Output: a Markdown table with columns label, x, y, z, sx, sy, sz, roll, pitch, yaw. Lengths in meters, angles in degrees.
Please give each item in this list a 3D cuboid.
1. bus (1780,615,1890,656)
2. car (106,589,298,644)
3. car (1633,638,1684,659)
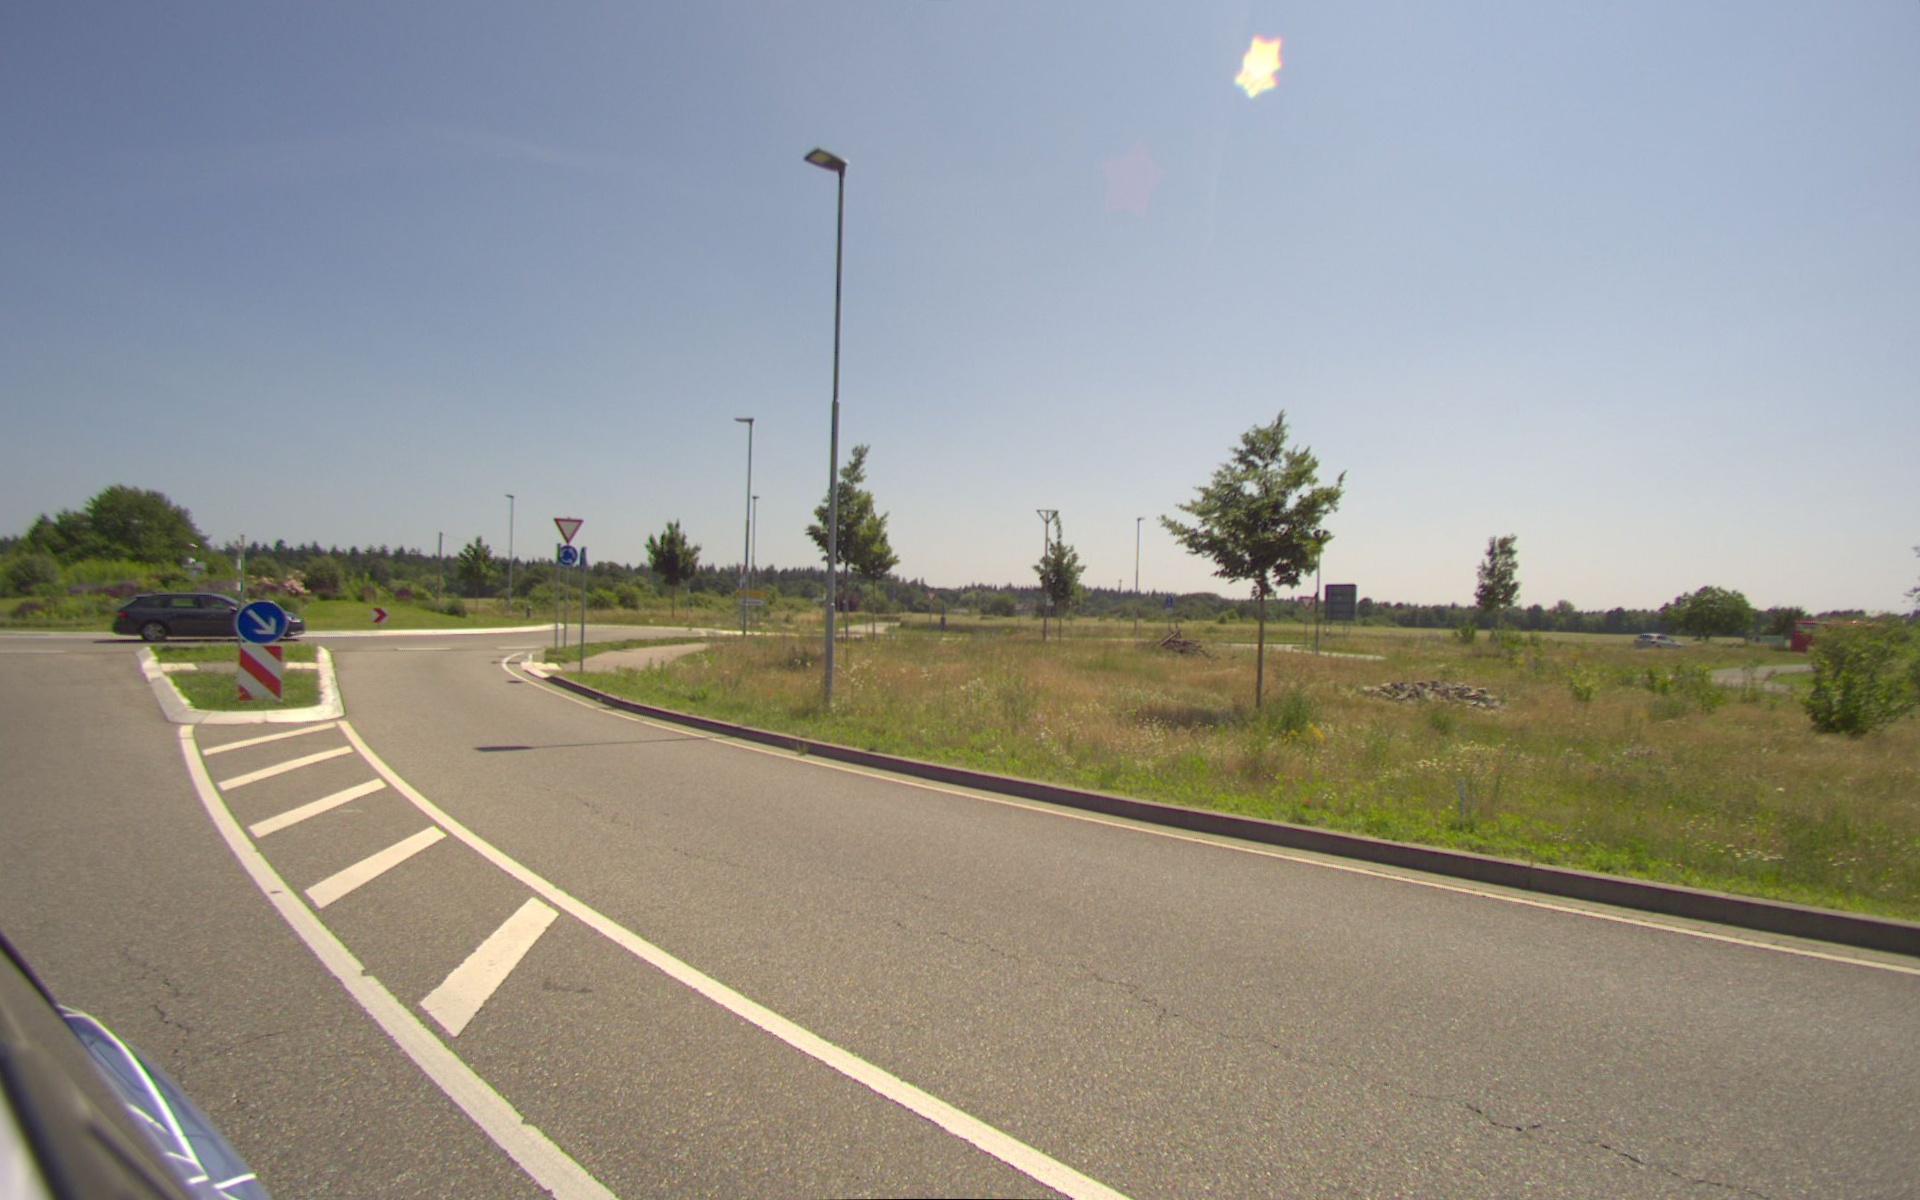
| label | x | y | z | sx | sy | sz | roll | pitch | yaw |
| --- | --- | --- | --- | --- | --- | --- | --- | --- | --- |
| bus | 77.754 | 3.176 | 89.853 | 11.783 | 3.334 | 3.324 | 2 | -1 | -28 |
| car | -22.691 | 0.511 | 30.546 | 4.444 | 1.445 | 1.875 | 2 | 1 | -33 |
| car | 53.253 | 3.690 | 77.148 | 3.540 | 1.475 | 1.734 | 2 | -1 | -28 |
